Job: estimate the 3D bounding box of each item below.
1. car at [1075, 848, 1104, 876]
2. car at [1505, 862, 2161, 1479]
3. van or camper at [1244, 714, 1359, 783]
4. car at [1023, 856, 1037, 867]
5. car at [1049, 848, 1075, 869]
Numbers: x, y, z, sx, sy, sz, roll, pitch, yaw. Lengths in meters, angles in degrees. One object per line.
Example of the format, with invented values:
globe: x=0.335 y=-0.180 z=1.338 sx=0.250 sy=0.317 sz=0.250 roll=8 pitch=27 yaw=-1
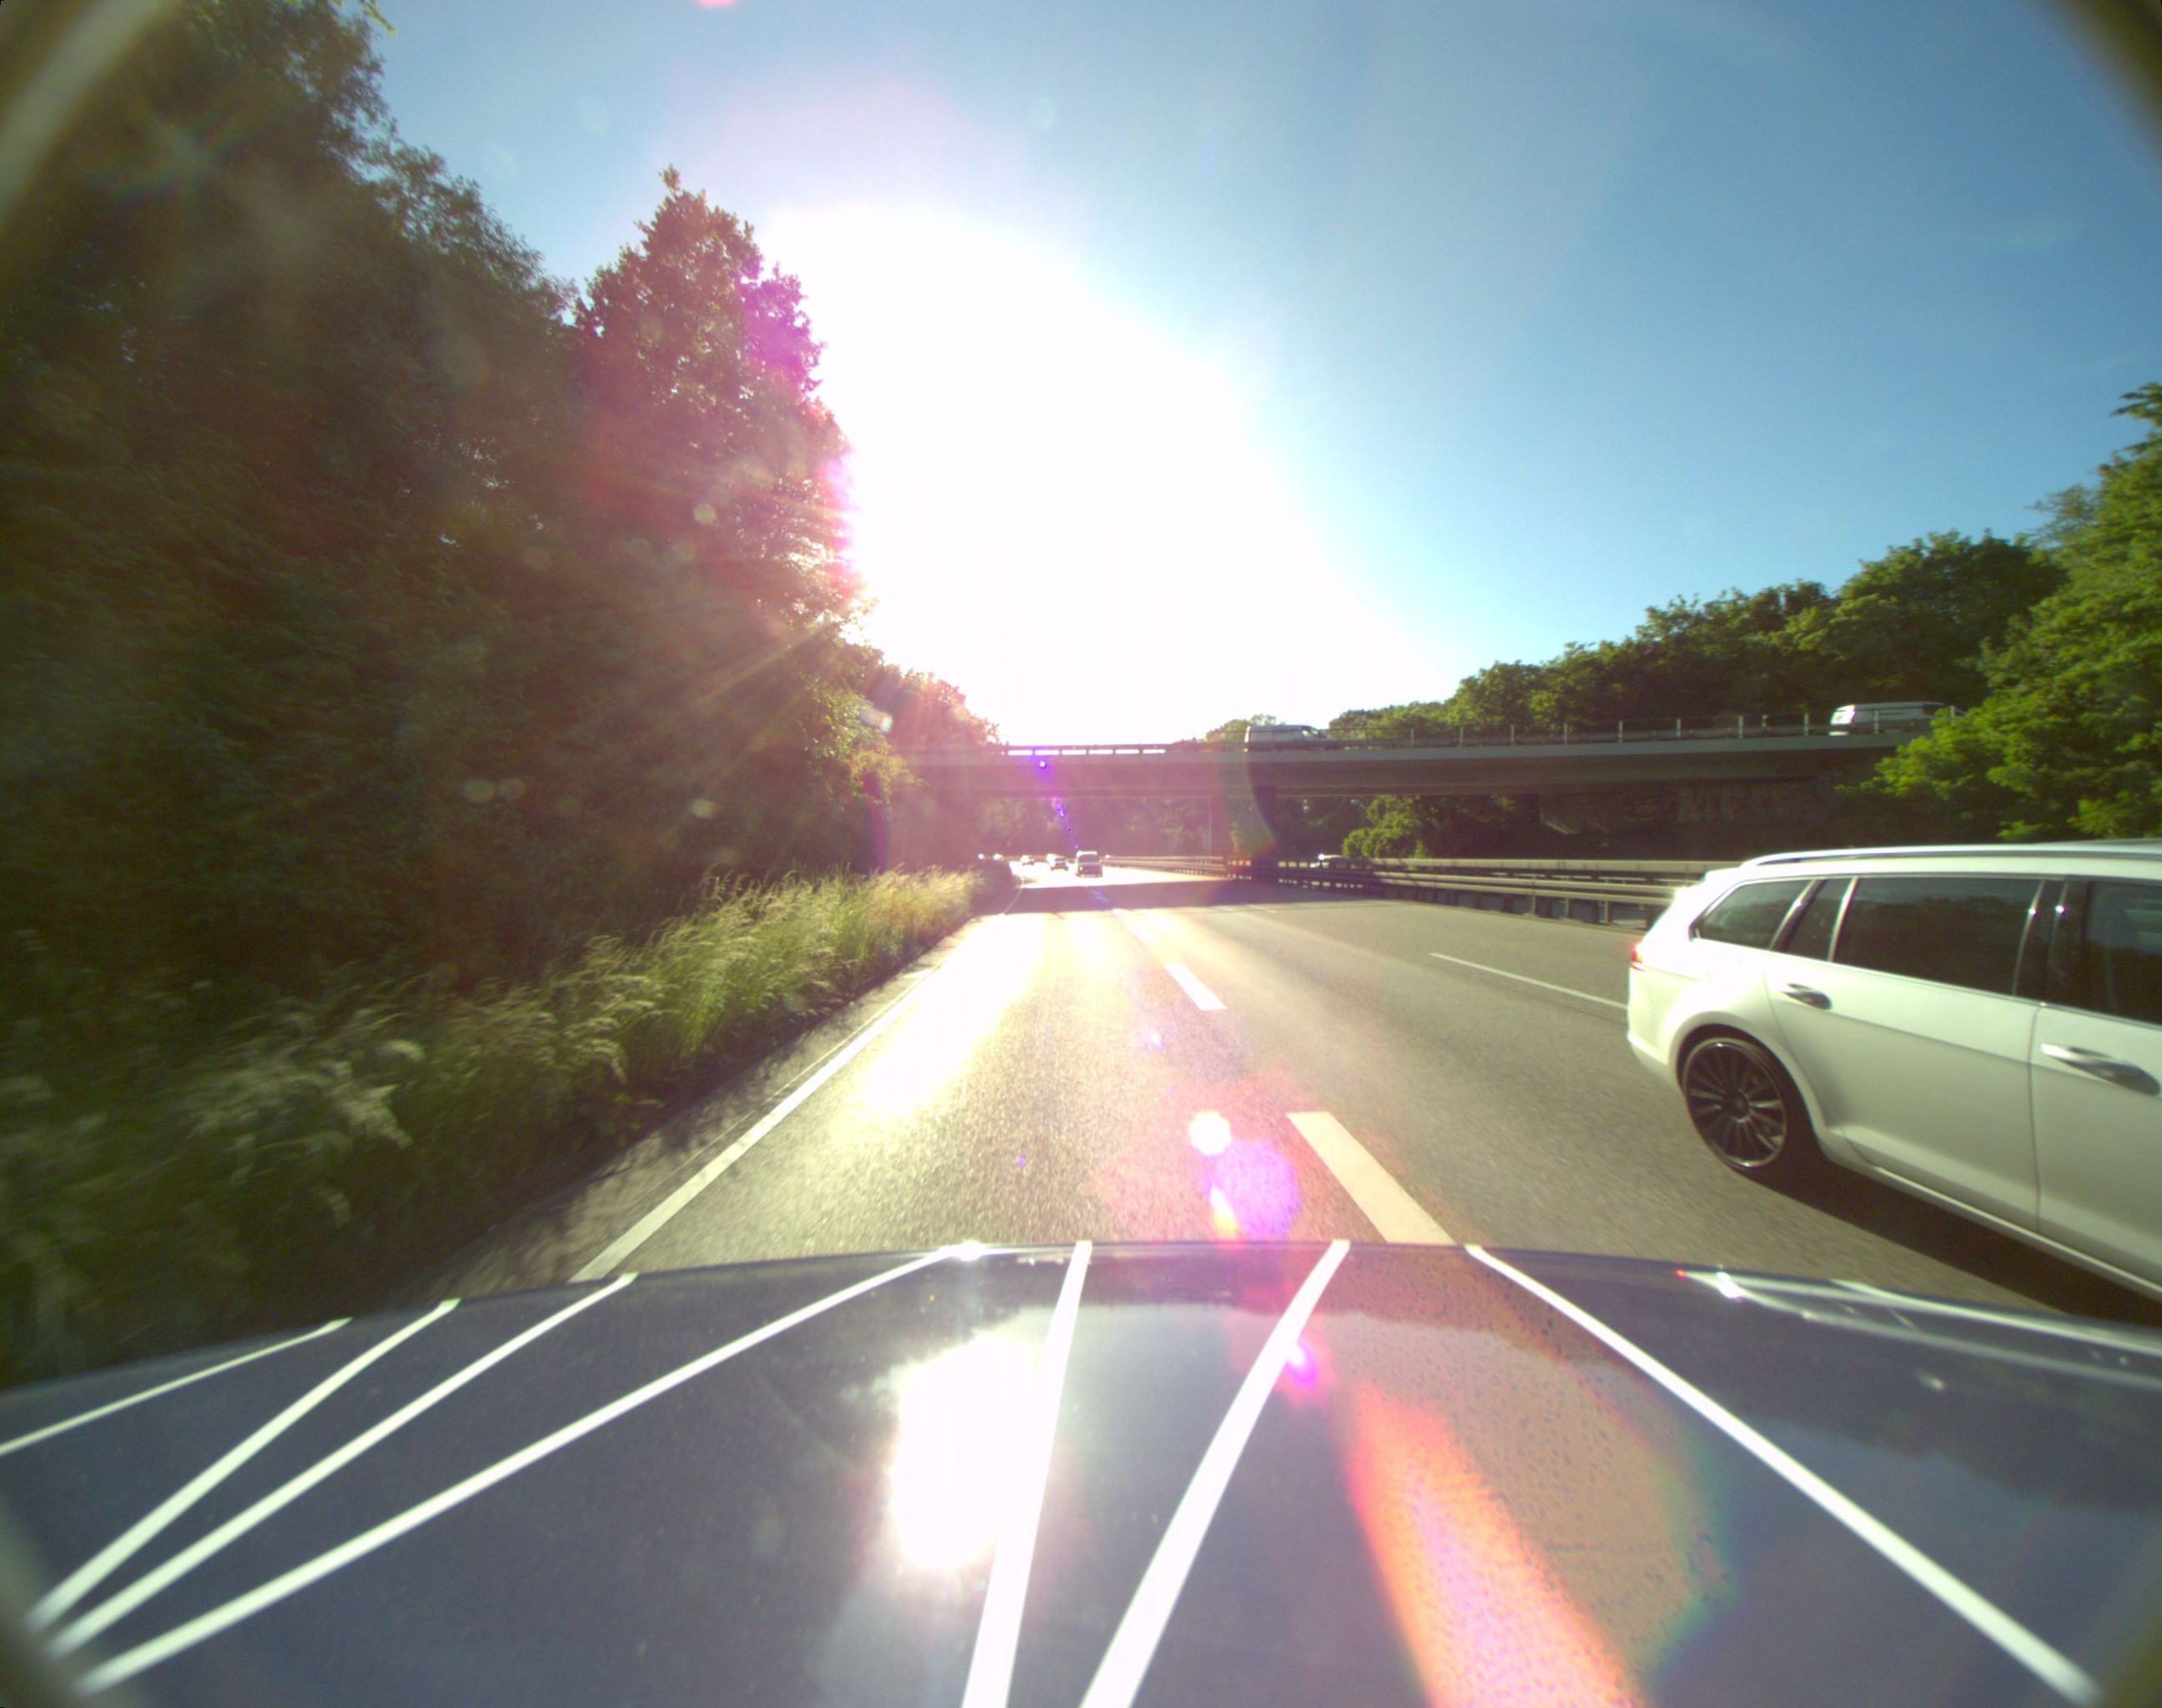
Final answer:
car: x=0.583 y=0.528 z=55.390 sx=1.800 sy=1.797 sz=4.831 roll=-2 pitch=1 yaw=-2
car: x=3.752 y=0.841 z=2.242 sx=1.934 sy=1.499 sz=5.599 roll=-2 pitch=0 yaw=1
van or camper: x=11.320 y=-5.393 z=39.266 sx=5.453 sy=3.165 sz=2.000 roll=-1 pitch=4 yaw=7
car: x=-7.510 y=1.040 z=111.561 sx=1.935 sy=1.499 sz=5.082 roll=-1 pitch=1 yaw=-6
car: x=-2.038 y=0.402 z=78.466 sx=2.257 sy=1.843 sz=5.136 roll=-1 pitch=3 yaw=-6
